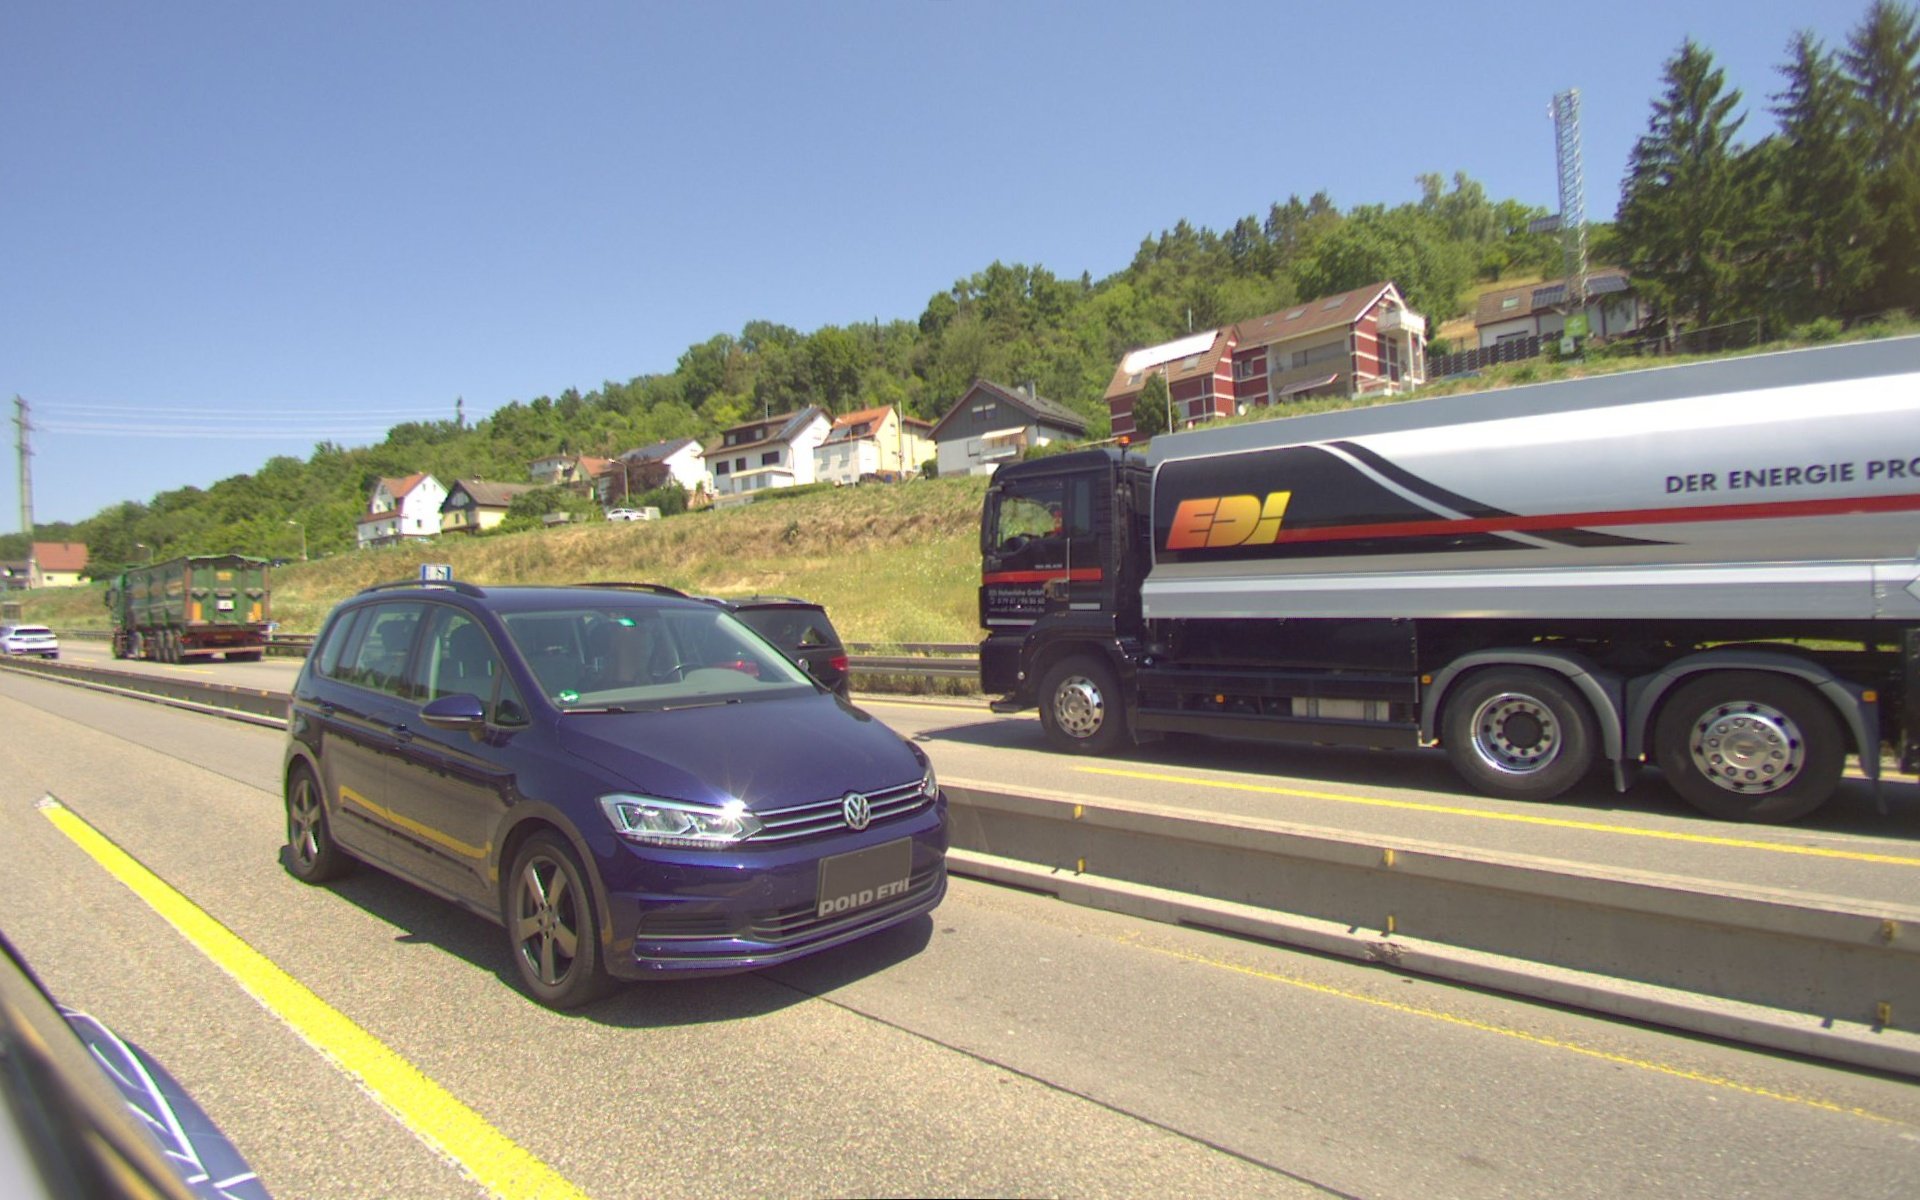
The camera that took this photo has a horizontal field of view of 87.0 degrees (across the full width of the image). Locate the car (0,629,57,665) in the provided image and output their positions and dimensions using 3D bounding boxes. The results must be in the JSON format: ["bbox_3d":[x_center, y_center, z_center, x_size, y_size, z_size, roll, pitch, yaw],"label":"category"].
[{"bbox_3d":[-41.233,2.038,44.456,4.437,1.481,1.755,-2,-1,40],"label":"car"}]

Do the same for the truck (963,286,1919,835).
[{"bbox_3d":[4.300,-0.175,8.719,8.955,3.166,2.698,-2,-1,41],"label":"truck"}]

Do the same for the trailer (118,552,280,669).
[{"bbox_3d":[-29.452,0.468,38.906,10.521,3.968,2.882,-2,-1,41],"label":"trailer"}]

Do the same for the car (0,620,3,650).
[{"bbox_3d":[-58.208,2.097,59.999,4.043,1.729,1.793,-2,-1,42],"label":"car"}]

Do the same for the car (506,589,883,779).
[{"bbox_3d":[-3.017,0.773,10.904,4.497,1.647,1.700,-2,-1,41],"label":"car"}]

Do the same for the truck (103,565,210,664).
[{"bbox_3d":[-34.191,0.647,43.041,4.176,3.968,2.864,-2,-1,41],"label":"truck"}]

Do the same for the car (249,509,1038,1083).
[{"bbox_3d":[-1.997,0.660,5.273,4.650,1.731,1.757,-2,-1,41],"label":"car"}]

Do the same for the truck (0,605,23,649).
[{"bbox_3d":[-79.743,2.272,82.814,15.925,3.348,2.734,-2,-1,41],"label":"truck"}]
